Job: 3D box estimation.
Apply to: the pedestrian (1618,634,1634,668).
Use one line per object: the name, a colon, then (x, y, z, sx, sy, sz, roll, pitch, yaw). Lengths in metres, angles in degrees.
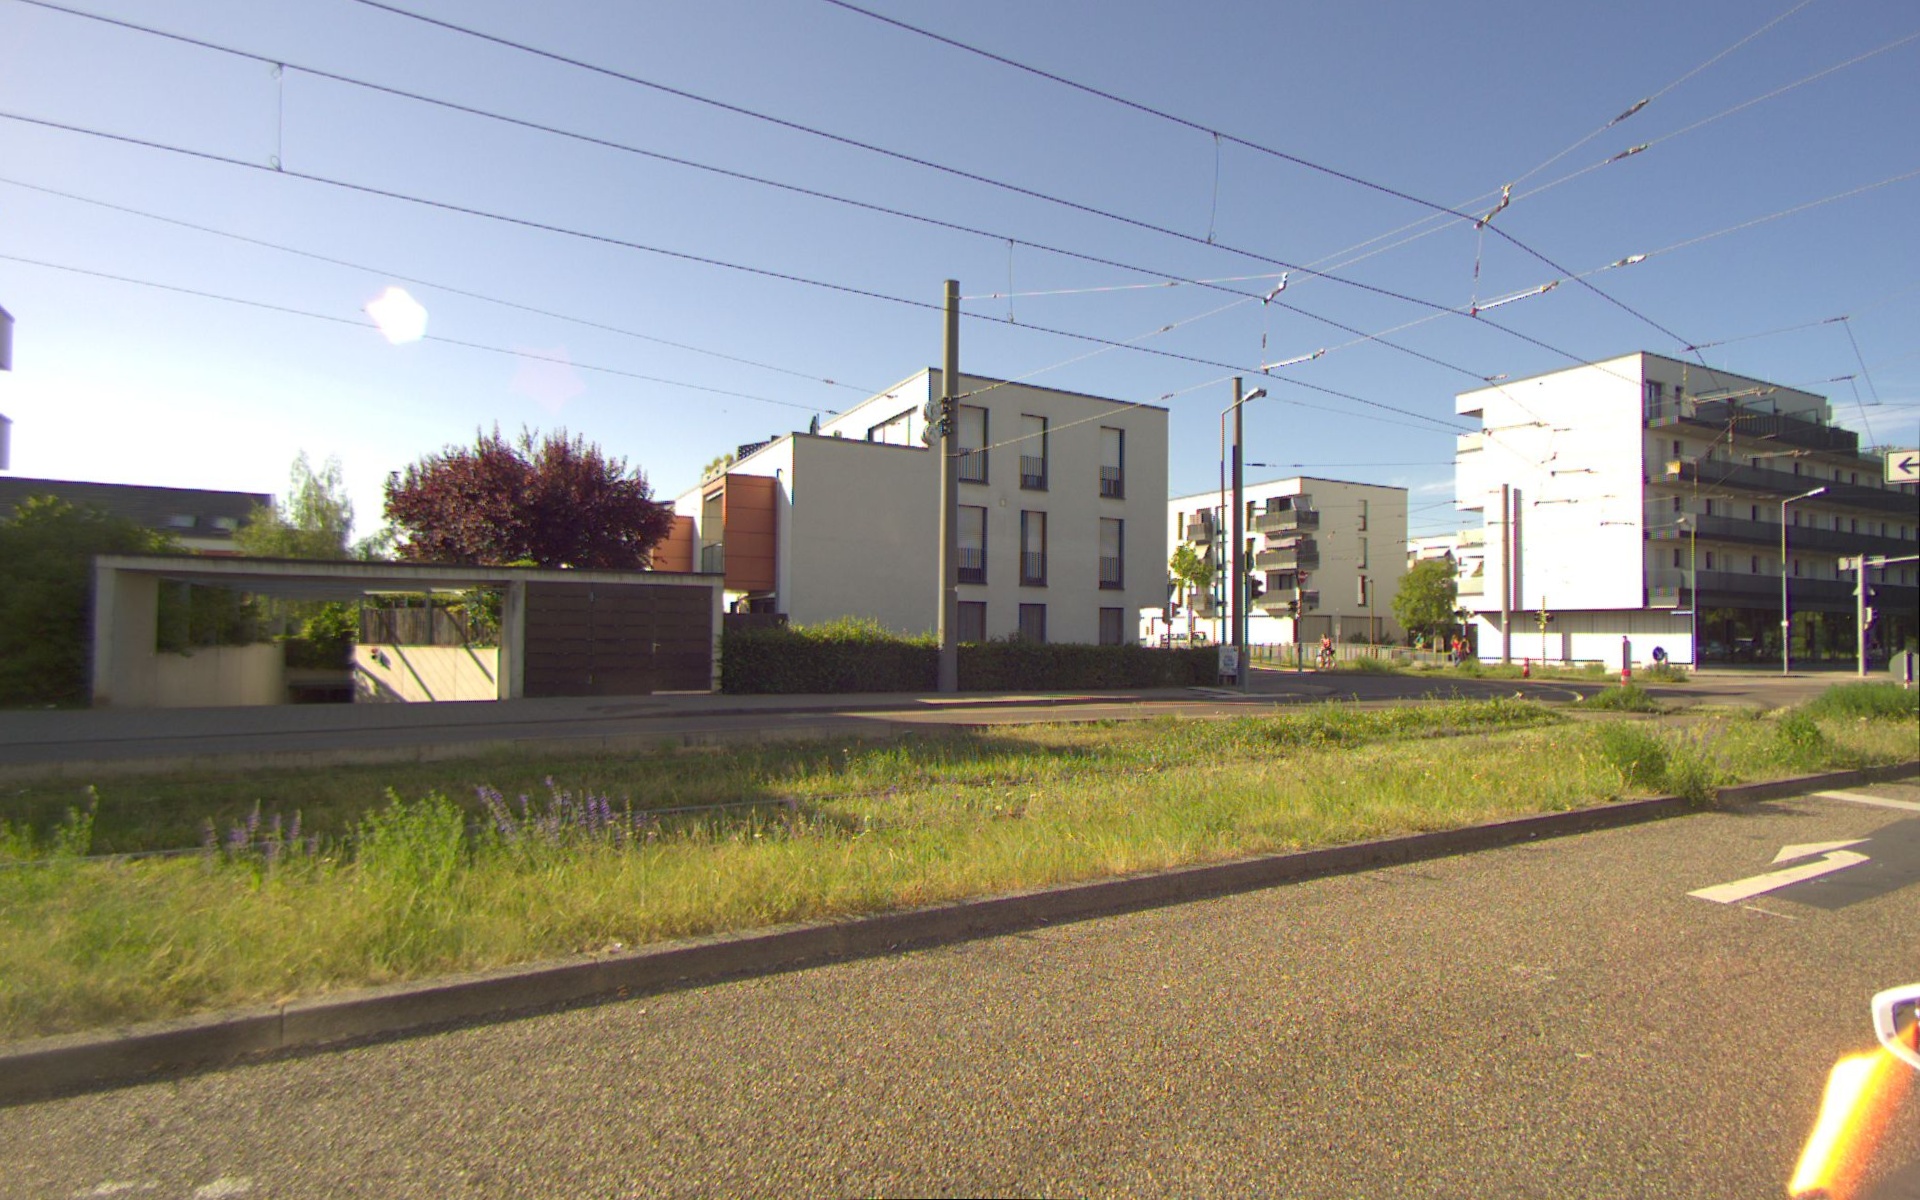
pedestrian: (35.761, 2.730, 53.942, 0.513, 1.767, 0.539, 2, 0, -35)

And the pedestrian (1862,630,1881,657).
pedestrian: (51.361, 2.450, 56.613, 0.589, 1.529, 0.639, 2, 0, -30)

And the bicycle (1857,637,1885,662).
bicycle: (51.347, 2.810, 56.620, 1.891, 1.350, 0.627, 2, 0, -31)

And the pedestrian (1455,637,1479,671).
pedestrian: (24.776, 2.648, 49.101, 0.736, 1.626, 0.765, 2, 0, -37)

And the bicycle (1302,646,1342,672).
bicycle: (16.629, 2.705, 46.072, 1.843, 1.139, 0.814, 2, 0, -36)

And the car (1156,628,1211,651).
car: (17.821, 3.159, 80.233, 1.974, 1.595, 4.309, 2, 0, -27)

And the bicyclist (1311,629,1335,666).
bicyclist: (16.646, 2.165, 46.049, 0.634, 1.635, 0.777, 2, 0, -35)

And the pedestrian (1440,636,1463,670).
pedestrian: (24.434, 2.642, 49.916, 0.736, 1.626, 0.765, 2, 0, -37)
